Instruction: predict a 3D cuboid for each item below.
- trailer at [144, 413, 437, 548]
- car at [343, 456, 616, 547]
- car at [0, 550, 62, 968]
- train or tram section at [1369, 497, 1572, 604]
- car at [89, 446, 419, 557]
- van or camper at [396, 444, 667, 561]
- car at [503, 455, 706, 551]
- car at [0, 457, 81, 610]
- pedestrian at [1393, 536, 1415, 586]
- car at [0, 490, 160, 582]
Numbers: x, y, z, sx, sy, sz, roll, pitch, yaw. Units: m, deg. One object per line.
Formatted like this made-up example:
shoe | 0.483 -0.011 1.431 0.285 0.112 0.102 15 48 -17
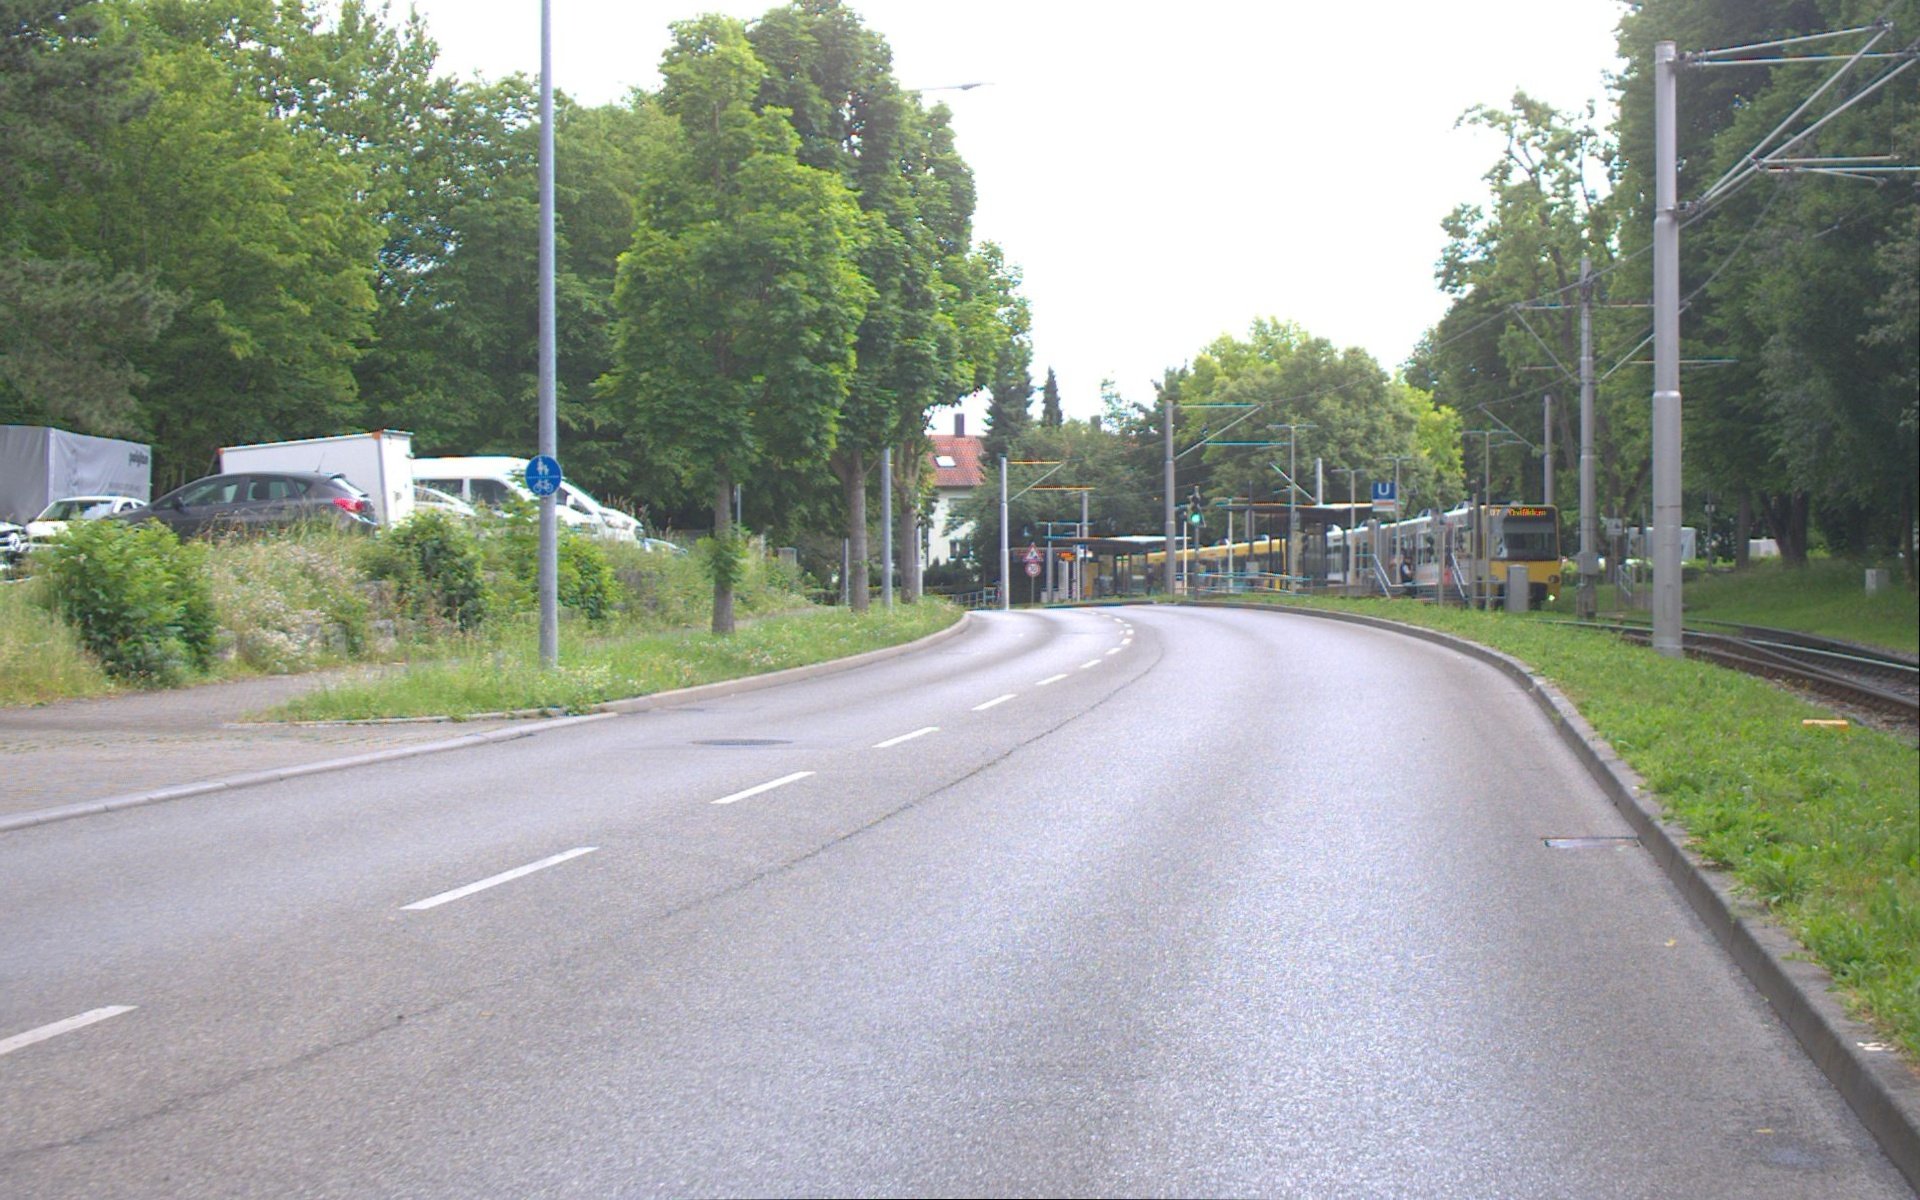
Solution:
trailer | -10.183 -1.815 52.435 3.988 2.007 1.907 0 1 8
car | -8.965 -1.841 64.268 4.645 1.650 1.999 0 1 12
car | -4.566 0.572 10.275 1.994 1.433 4.424 2 2 9
train or tram section | 17.948 -1.921 124.278 3.008 3.299 34.711 1 1 1
car | -10.098 -1.414 49.377 4.311 1.443 1.836 -1 1 1
van or camper | -8.290 -1.892 66.752 4.892 2.195 2.000 1 1 4
car | -7.611 -2.072 73.782 3.988 2.007 2.000 0 1 7
car | -12.197 -0.727 36.858 4.926 1.579 2.207 0 1 4
pedestrian | 13.011 -1.137 100.733 0.567 1.459 0.595 0 1 0
car | -15.699 -1.146 60.836 1.886 1.579 3.664 1 1 6
